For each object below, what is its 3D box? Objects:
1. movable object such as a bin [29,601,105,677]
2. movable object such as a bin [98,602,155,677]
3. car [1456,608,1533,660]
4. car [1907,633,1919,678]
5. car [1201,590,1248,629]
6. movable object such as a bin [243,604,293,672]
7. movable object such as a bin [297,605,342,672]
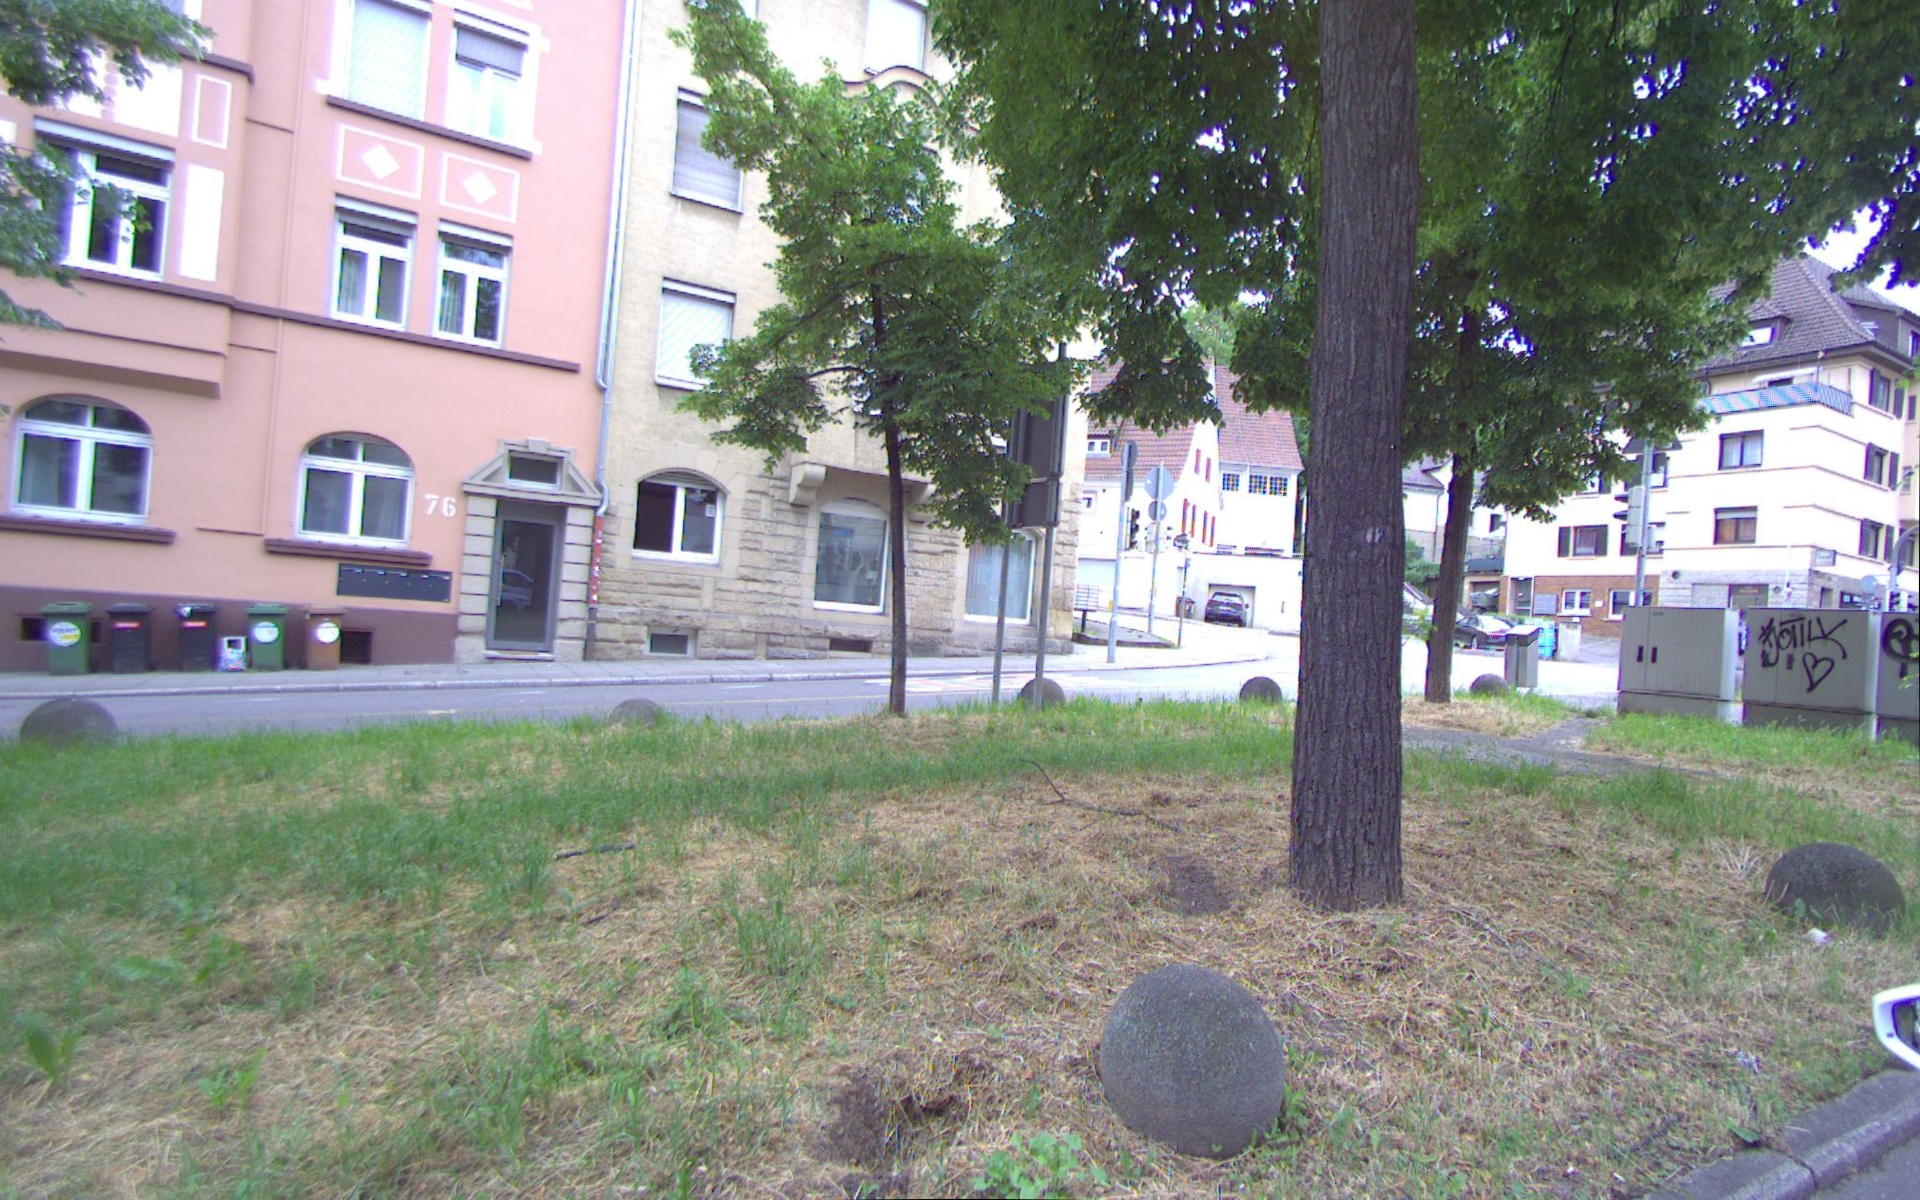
[{"bbox_3d":[-11.643,0.500,13.110,0.611,0.961,0.613,2,0,-31],"label":"movable object such as a bin"},{"bbox_3d":[-11.134,0.523,13.429,0.528,0.958,0.576,2,0,-36],"label":"movable object such as a bin"},{"bbox_3d":[21.742,1.346,41.028,1.832,1.619,3.519,2,6,13],"label":"car"},{"bbox_3d":[34.859,1.973,34.757,3.848,1.506,1.837,2,0,-27],"label":"car"},{"bbox_3d":[11.757,0.379,44.800,1.638,1.424,3.058,7,3,11],"label":"car"},{"bbox_3d":[-9.808,0.531,14.248,0.554,0.934,0.649,2,0,-34],"label":"movable object such as a bin"},{"bbox_3d":[-9.292,0.548,14.565,0.510,0.934,0.752,2,0,-34],"label":"movable object such as a bin"}]
